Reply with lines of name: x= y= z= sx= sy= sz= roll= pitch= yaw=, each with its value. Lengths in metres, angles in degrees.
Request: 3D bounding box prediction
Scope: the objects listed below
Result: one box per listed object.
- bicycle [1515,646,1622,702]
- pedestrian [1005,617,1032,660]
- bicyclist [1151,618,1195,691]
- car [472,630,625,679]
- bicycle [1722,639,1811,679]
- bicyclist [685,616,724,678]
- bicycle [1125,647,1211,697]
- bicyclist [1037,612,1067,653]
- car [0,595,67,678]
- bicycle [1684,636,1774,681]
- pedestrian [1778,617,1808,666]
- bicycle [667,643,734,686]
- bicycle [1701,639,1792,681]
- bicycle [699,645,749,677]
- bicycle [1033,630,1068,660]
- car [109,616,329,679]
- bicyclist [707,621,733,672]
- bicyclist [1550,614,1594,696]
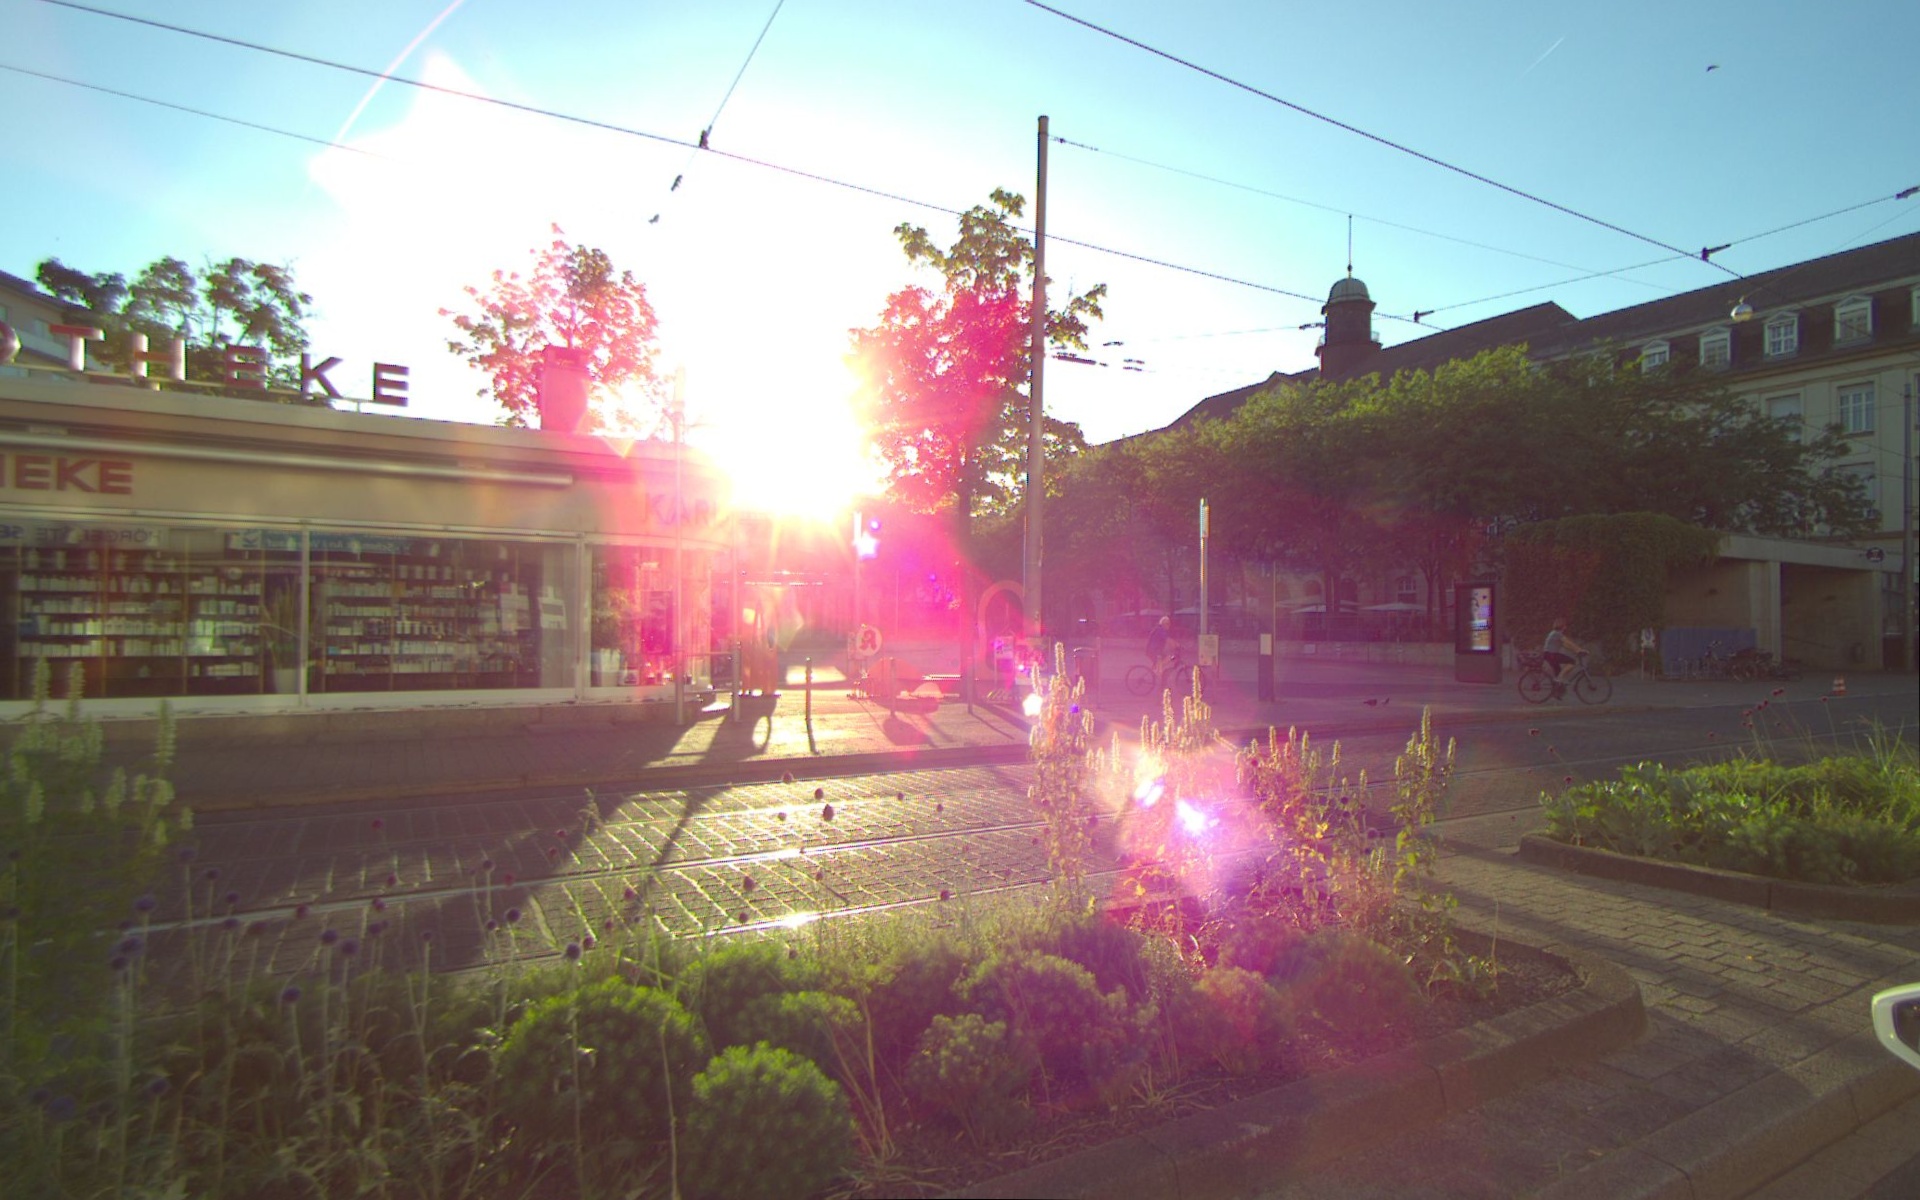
bicycle: x=12.974 y=1.566 z=21.482 sx=1.898 sy=1.126 sz=0.461 roll=0 pitch=-3 yaw=20
pedestrian: x=2.842 y=1.855 z=48.732 sx=0.922 sy=2.088 sz=0.931 roll=1 pitch=-1 yaw=-35
bicyclist: x=4.889 y=1.239 z=23.036 sx=0.788 sy=1.632 sz=0.738 roll=0 pitch=-3 yaw=29
car: x=-13.028 y=1.752 z=31.940 sx=4.211 sy=1.427 sz=1.643 roll=4 pitch=-3 yaw=-37
bicycle: x=26.351 y=1.923 z=32.868 sx=0.578 sy=1.248 sz=2.231 roll=2 pitch=-2 yaw=-29
bicyclist: x=-6.814 y=1.255 z=26.822 sx=0.688 sy=1.597 sz=0.755 roll=1 pitch=-3 yaw=12
bicycle: x=4.763 y=1.635 z=23.064 sx=1.893 sy=1.126 sz=0.460 roll=-2 pitch=-3 yaw=29
bicyclist: x=4.716 y=1.665 z=51.397 sx=1.130 sy=2.044 sz=0.954 roll=3 pitch=-3 yaw=-31
car: x=-25.014 y=0.855 z=24.842 sx=3.954 sy=2.040 sz=1.984 roll=3 pitch=-3 yaw=-30
bicycle: x=23.742 y=1.784 z=31.063 sx=0.573 sy=1.317 sz=2.187 roll=3 pitch=-3 yaw=-29
pedestrian: x=34.251 y=1.708 z=41.306 sx=0.782 sy=1.959 sz=0.721 roll=3 pitch=-3 yaw=-27
bicycle: x=-6.926 y=1.727 z=26.831 sx=1.676 sy=1.126 sz=0.496 roll=-1 pitch=-3 yaw=12
bicycle: x=24.978 y=1.889 z=31.940 sx=0.573 sy=1.271 sz=2.231 roll=3 pitch=-3 yaw=-29
bicycle: x=-7.192 y=1.870 z=30.644 sx=1.399 sy=0.927 sz=0.425 roll=2 pitch=-2 yaw=-1
bicycle: x=4.631 y=2.275 z=51.454 sx=0.573 sy=1.495 sz=2.230 roll=2 pitch=-2 yaw=-31
car: x=-20.257 y=1.342 z=27.748 sx=4.626 sy=1.585 sz=1.790 roll=3 pitch=-3 yaw=-30
bicyclist: x=-7.311 y=1.408 z=30.628 sx=0.644 sy=1.540 sz=0.677 roll=0 pitch=-1 yaw=-3
bicyclist: x=13.073 y=1.171 z=21.468 sx=0.691 sy=1.690 sz=0.628 roll=1 pitch=-2 yaw=20
